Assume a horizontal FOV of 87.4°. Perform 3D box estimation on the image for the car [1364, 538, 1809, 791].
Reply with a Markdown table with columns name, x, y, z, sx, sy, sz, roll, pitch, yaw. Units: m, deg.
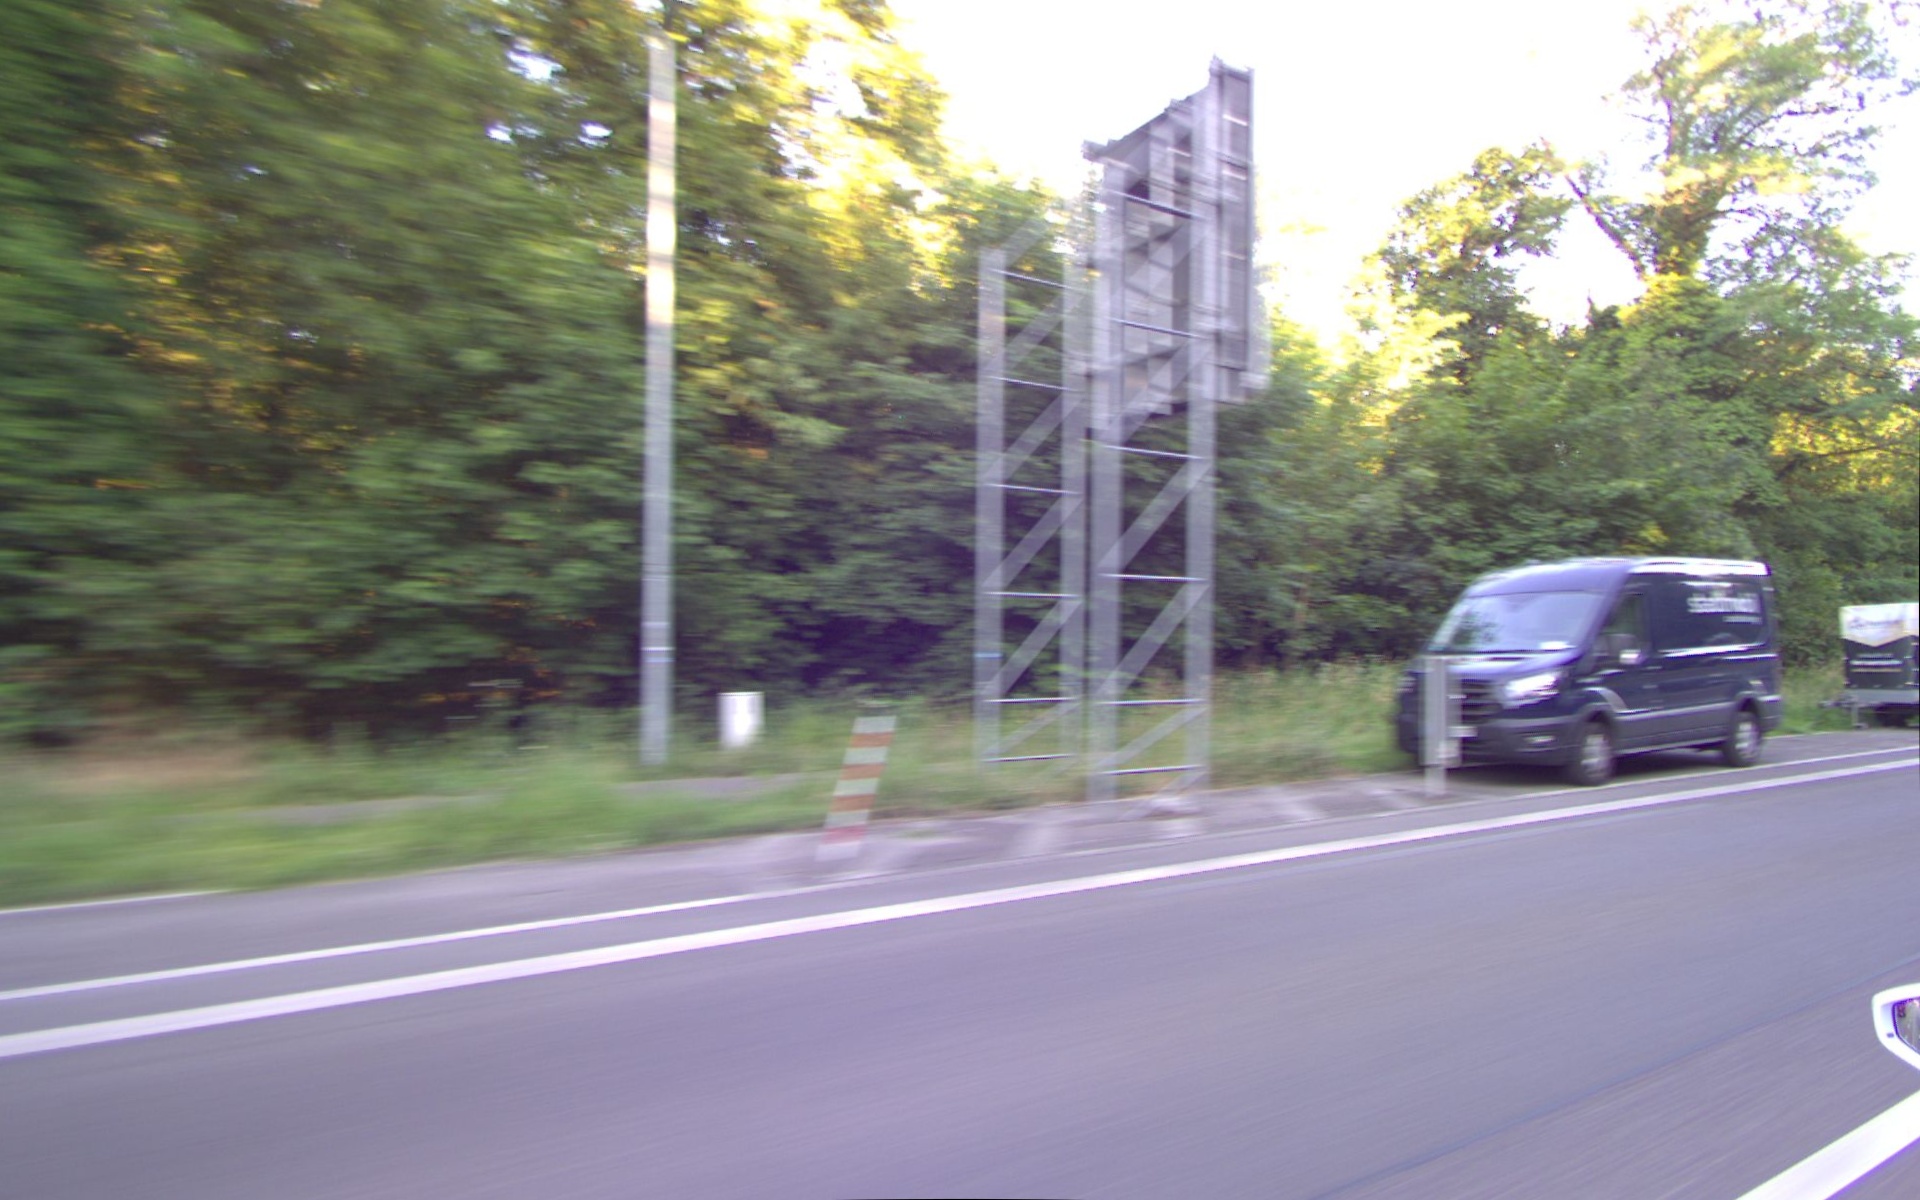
| name | x | y | z | sx | sy | sz | roll | pitch | yaw |
| --- | --- | --- | --- | --- | --- | --- | --- | --- | --- |
| car | 7.491 | 0.721 | 11.817 | 5.698 | 2.395 | 1.985 | 2 | -3 | -30 |

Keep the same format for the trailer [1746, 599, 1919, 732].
| name | x | y | z | sx | sy | sz | roll | pitch | yaw |
| --- | --- | --- | --- | --- | --- | --- | --- | --- | --- |
| trailer | 16.497 | 1.130 | 17.768 | 3.858 | 2.183 | 1.966 | 1 | -2 | -9 |

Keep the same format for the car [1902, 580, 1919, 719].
| name | x | y | z | sx | sy | sz | roll | pitch | yaw |
| --- | --- | --- | --- | --- | --- | --- | --- | --- | --- |
| car | 21.440 | 0.988 | 20.122 | 5.654 | 2.682 | 2.239 | 1 | -2 | -30 |
